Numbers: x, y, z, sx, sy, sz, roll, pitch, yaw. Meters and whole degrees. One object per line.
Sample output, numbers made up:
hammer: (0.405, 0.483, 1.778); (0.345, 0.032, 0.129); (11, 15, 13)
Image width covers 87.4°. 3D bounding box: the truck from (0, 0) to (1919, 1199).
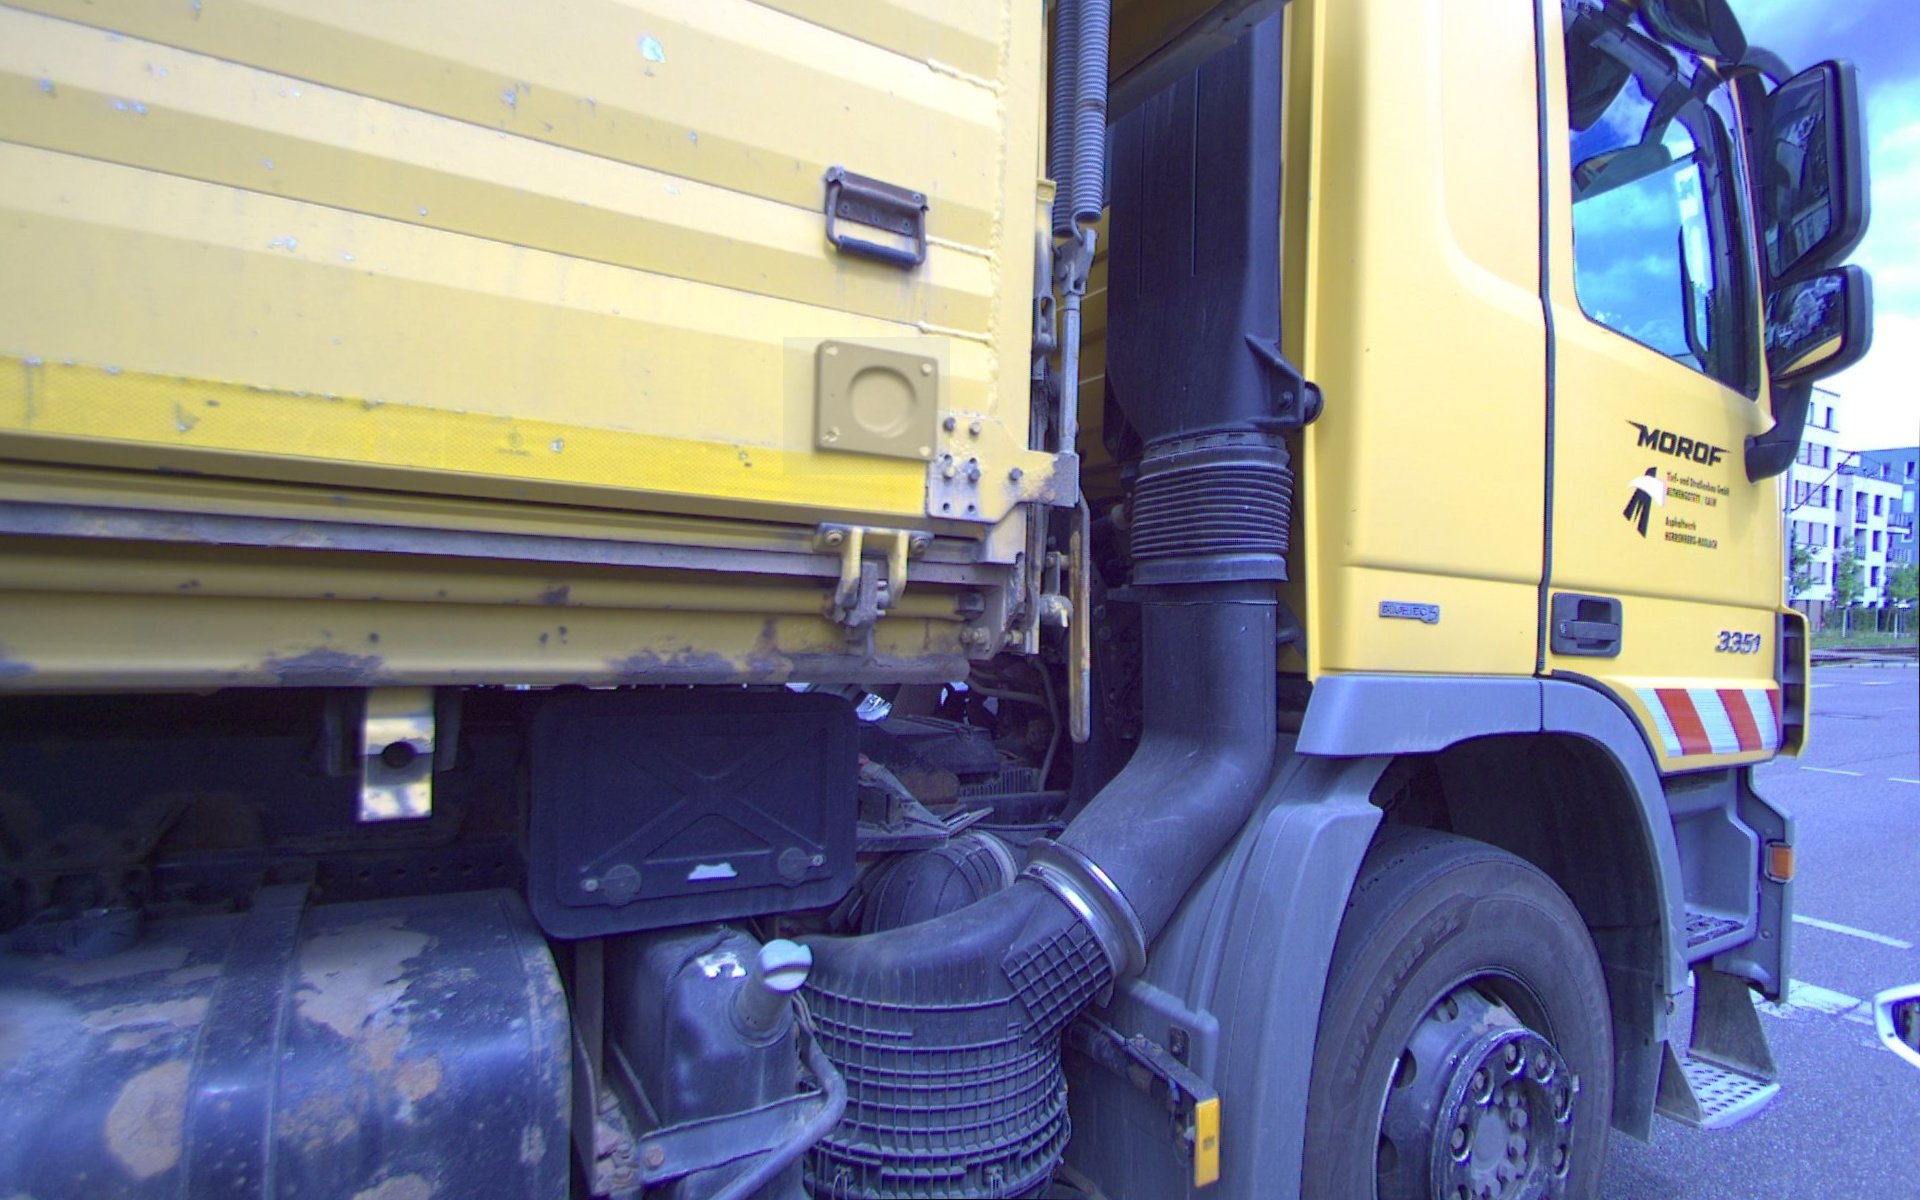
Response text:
truck: (-1.537, -0.050, 1.585); (7.688, 3.043, 2.707); (2, 0, -30)
